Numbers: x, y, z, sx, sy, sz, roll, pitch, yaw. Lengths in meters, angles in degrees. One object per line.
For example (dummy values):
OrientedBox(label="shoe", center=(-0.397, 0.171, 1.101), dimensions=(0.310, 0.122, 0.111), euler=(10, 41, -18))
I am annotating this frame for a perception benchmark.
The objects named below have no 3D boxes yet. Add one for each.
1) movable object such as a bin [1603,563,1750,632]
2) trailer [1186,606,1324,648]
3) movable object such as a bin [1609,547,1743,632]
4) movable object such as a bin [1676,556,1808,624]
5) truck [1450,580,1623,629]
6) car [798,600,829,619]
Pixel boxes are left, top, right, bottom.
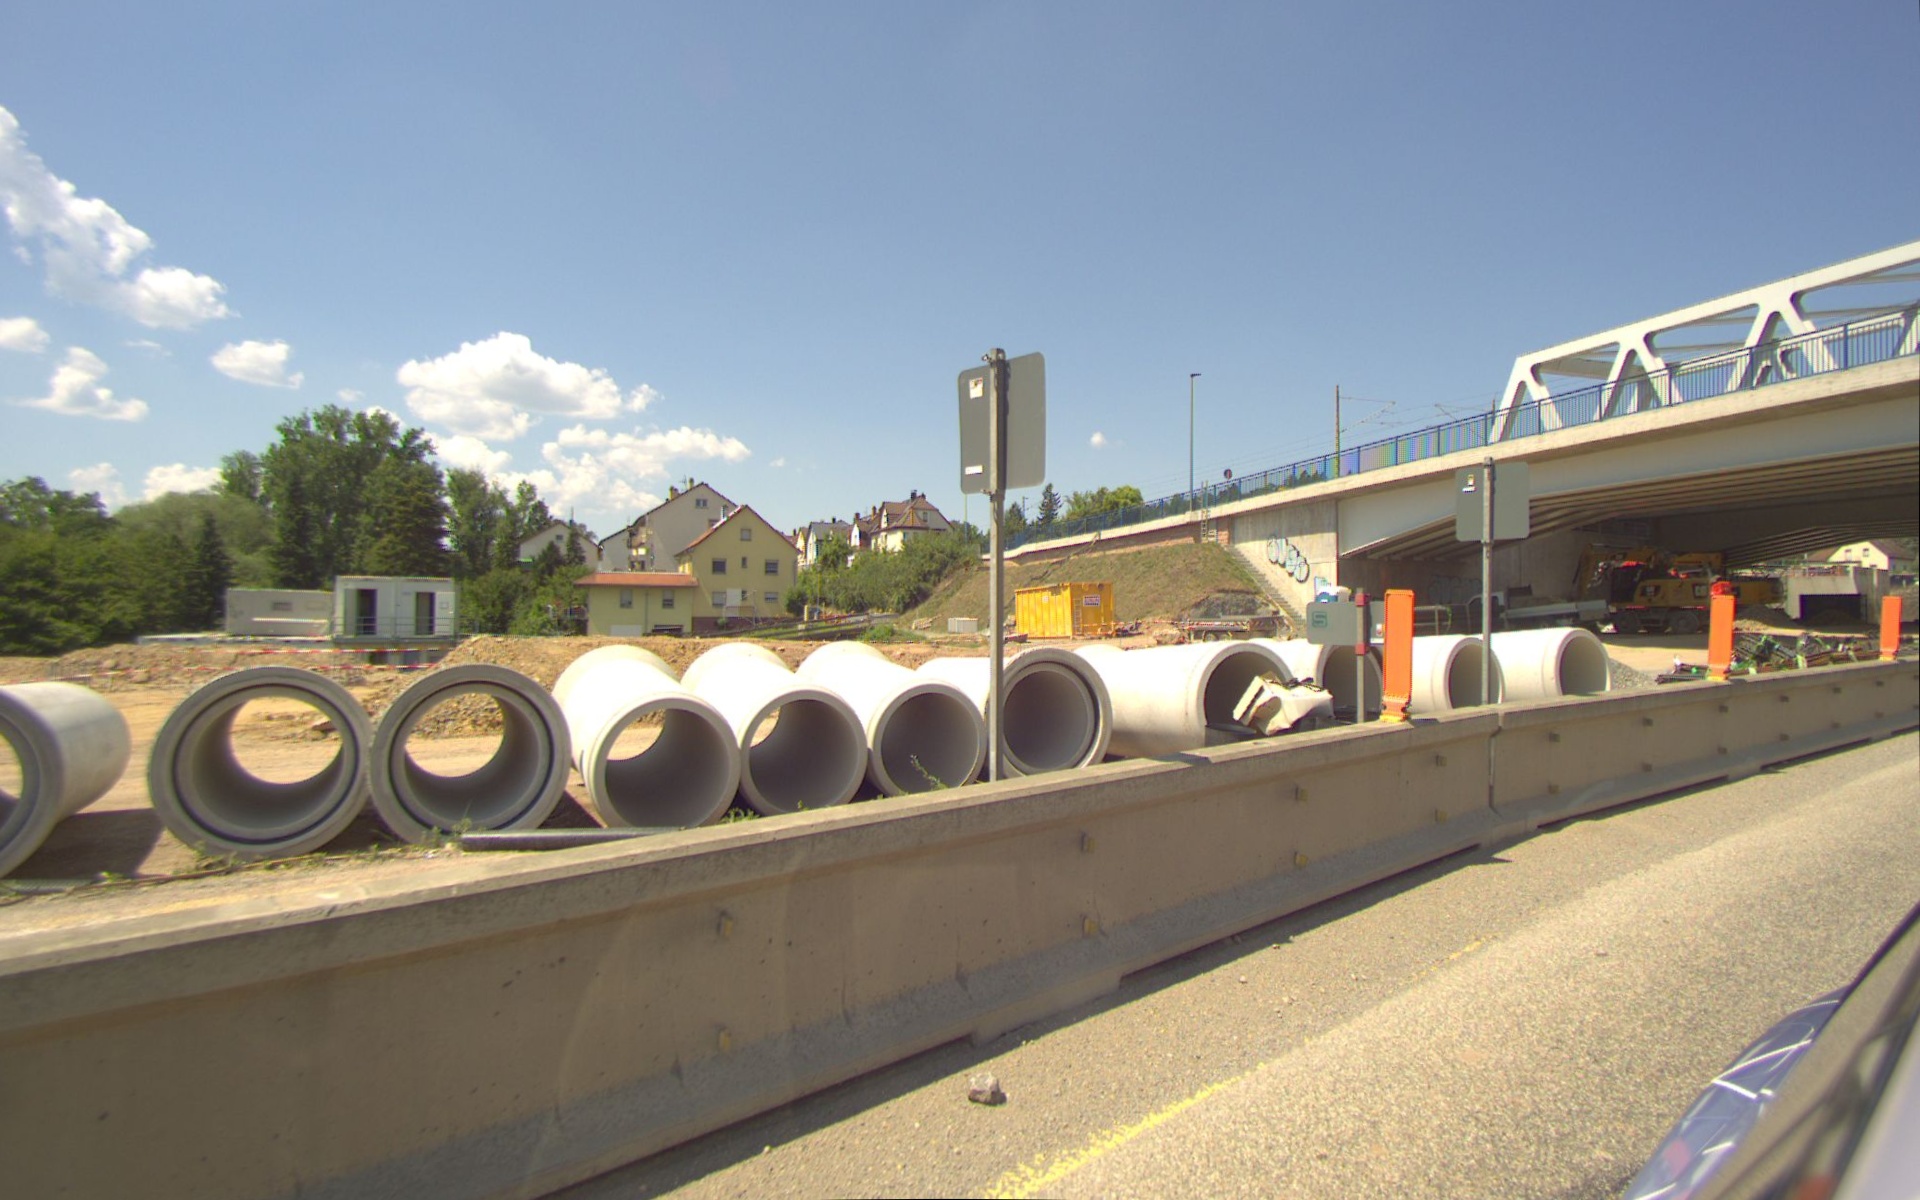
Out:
OrientedBox(label="movable object such as a bin", center=(34.816, -0.094, 49.372), dimensions=(2.446, 3.095, 5.264), euler=(-2, 0, -26))
OrientedBox(label="trailer", center=(10.587, 0.936, 36.647), dimensions=(2.015, 1.234, 4.734), euler=(-3, 2, -30))
OrientedBox(label="movable object such as a bin", center=(32.253, -0.470, 45.731), dimensions=(2.842, 3.587, 3.901), euler=(-2, 0, -19))
OrientedBox(label="movable object such as a bin", center=(40.901, -0.506, 53.061), dimensions=(2.929, 3.328, 4.575), euler=(-2, 0, -26))
OrientedBox(label="truck", center=(26.237, 0.207, 46.405), dimensions=(2.611, 2.099, 6.552), euler=(-1, 0, -26))
OrientedBox(label="car", center=(-13.194, 0.839, 90.929), dimensions=(1.546, 1.526, 4.174), euler=(-2, 2, -26))
